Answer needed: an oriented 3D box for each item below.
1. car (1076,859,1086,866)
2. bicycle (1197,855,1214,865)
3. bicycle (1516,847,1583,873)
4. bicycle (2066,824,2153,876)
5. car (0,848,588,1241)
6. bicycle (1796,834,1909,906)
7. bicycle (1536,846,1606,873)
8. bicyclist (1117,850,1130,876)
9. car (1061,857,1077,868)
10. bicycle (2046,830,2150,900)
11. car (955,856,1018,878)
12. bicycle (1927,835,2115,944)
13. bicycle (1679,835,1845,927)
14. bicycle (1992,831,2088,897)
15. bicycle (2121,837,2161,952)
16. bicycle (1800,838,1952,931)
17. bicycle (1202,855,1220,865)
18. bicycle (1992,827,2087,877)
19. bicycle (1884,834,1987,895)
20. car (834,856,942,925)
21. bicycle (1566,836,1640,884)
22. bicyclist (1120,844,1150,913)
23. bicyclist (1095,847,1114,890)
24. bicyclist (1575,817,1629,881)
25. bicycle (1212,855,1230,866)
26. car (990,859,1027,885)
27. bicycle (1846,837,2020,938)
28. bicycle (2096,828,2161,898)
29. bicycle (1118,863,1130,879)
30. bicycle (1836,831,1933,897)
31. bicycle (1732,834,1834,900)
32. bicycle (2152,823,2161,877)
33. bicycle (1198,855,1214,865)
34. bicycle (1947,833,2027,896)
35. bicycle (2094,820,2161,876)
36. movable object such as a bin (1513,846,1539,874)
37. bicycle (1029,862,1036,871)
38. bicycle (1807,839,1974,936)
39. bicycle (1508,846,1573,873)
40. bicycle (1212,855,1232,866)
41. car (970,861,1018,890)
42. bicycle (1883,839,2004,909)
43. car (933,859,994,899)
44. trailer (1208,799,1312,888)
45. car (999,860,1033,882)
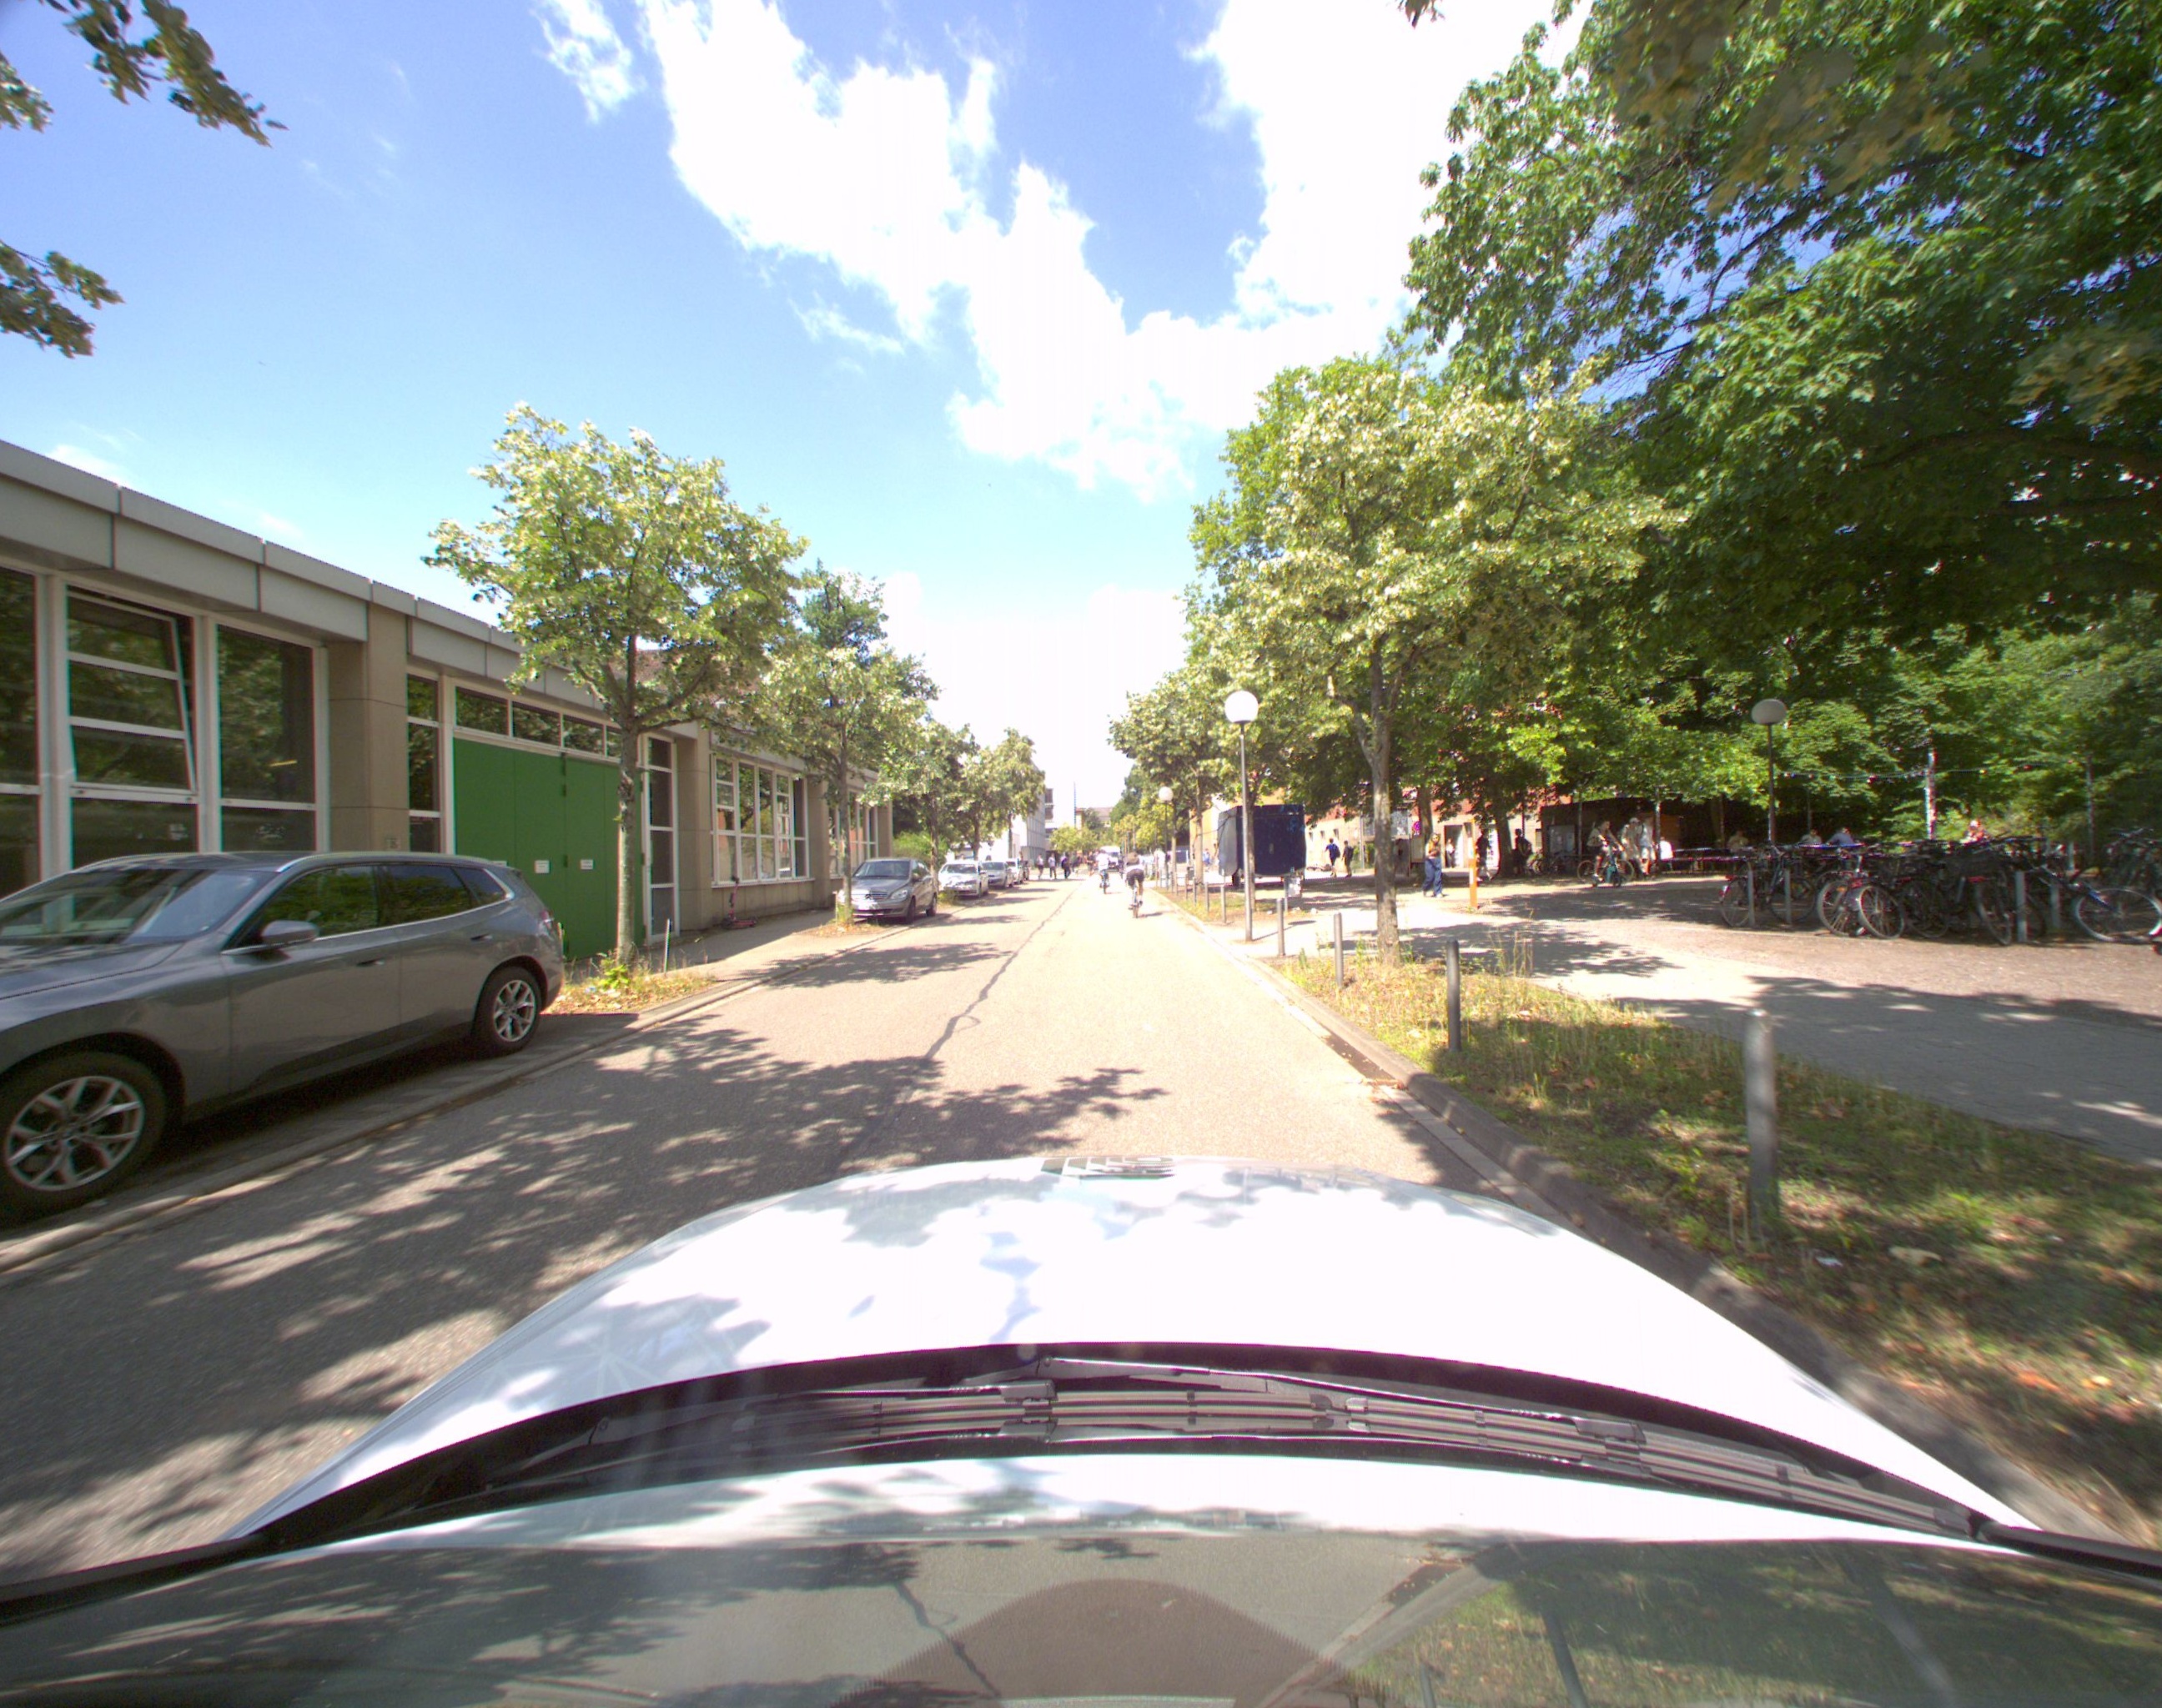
[{"bbox_3d":[0.067,1.835,184.844,1.786,1.530,4.006,-2,0,6],"label":"car"},{"bbox_3d":[14.436,0.683,94.351,1.803,0.985,0.560,-3,0,0],"label":"bicycle"},{"bbox_3d":[20.305,0.268,35.321,2.382,1.072,0.785,-2,-1,8],"label":"bicycle"},{"bbox_3d":[21.404,-0.088,16.946,1.959,0.979,0.436,-3,-1,-18],"label":"bicycle"},{"bbox_3d":[-5.423,0.804,5.203,1.816,1.632,4.515,0,-1,-1],"label":"car"},{"bbox_3d":[13.409,0.261,14.149,1.904,1.118,0.608,-3,-1,-21],"label":"bicycle"},{"bbox_3d":[20.530,0.233,34.160,2.379,1.072,0.786,-1,-1,13],"label":"bicycle"},{"bbox_3d":[2.891,0.635,55.644,0.805,1.756,0.693,-1,-1,2],"label":"bicyclist"},{"bbox_3d":[-1.775,1.269,118.254,1.786,1.530,4.006,-2,0,6],"label":"car"},{"bbox_3d":[15.922,0.156,12.743,1.904,0.979,0.418,-3,-1,-21],"label":"bicycle"},{"bbox_3d":[-7.381,0.991,63.563,4.479,1.619,1.929,1,-1,9],"label":"car"},{"bbox_3d":[10.298,0.369,8.925,1.944,1.082,0.403,-2,0,-11],"label":"bicycle"},{"bbox_3d":[9.610,0.363,11.511,2.015,1.167,0.649,-2,0,-11],"label":"bicycle"},{"bbox_3d":[15.850,0.156,13.452,1.906,0.979,0.475,-3,-1,-24],"label":"bicycle"},{"bbox_3d":[10.978,0.357,8.052,1.915,1.059,0.323,-2,0,-22],"label":"bicycle"},{"bbox_3d":[10.187,0.372,10.440,1.768,1.082,0.437,-2,0,-11],"label":"bicycle"},{"bbox_3d":[14.264,0.685,89.517,1.803,0.985,0.560,-3,0,0],"label":"bicycle"},{"bbox_3d":[20.793,-0.043,17.663,1.959,0.979,0.609,-3,-1,-18],"label":"bicycle"},{"bbox_3d":[15.392,0.183,14.669,1.903,0.979,0.475,-3,-1,-18],"label":"bicycle"},{"bbox_3d":[-4.768,0.854,20.671,1.752,1.556,4.112,0,-1,0],"label":"car"},{"bbox_3d":[14.580,0.169,22.787,0.531,1.252,1.726,-4,0,-19],"label":"bicycle"},{"bbox_3d":[1.361,0.601,20.294,0.714,1.662,1.096,0,-1,4],"label":"bicyclist"},{"bbox_3d":[0.988,0.611,34.305,0.768,1.756,0.849,0,-1,2],"label":"bicyclist"},{"bbox_3d":[14.565,-0.128,22.789,0.531,1.729,1.072,-4,0,-19],"label":"bicyclist"},{"bbox_3d":[14.402,0.667,83.787,1.803,0.985,0.560,-3,0,0],"label":"bicycle"},{"bbox_3d":[-4.127,0.994,46.661,1.656,1.412,3.808,0,0,1],"label":"car"},{"bbox_3d":[10.034,0.376,9.591,1.944,1.082,0.403,-2,0,-11],"label":"bicycle"},{"bbox_3d":[16.236,0.117,12.373,1.904,0.979,0.418,-3,-1,-21],"label":"bicycle"},{"bbox_3d":[2.904,1.155,55.588,0.805,1.002,2.125,-1,-1,2],"label":"bicycle"},{"bbox_3d":[15.381,0.185,15.586,1.903,1.143,0.475,-3,-1,-18],"label":"bicycle"},{"bbox_3d":[13.071,0.233,15.164,1.810,1.118,0.608,-3,-1,-21],"label":"bicycle"},{"bbox_3d":[21.778,-0.131,15.851,1.959,1.039,0.475,-3,-1,-18],"label":"bicycle"},{"bbox_3d":[14.336,0.686,93.389,1.803,0.985,0.560,-3,0,0],"label":"bicycle"},{"bbox_3d":[15.682,0.164,14.084,1.908,0.979,0.418,-3,-1,-27],"label":"bicycle"},{"bbox_3d":[21.427,-0.132,16.496,1.959,1.039,0.432,-3,-1,-18],"label":"bicycle"},{"bbox_3d":[17.798,0.236,32.600,0.597,1.071,0.743,-2,-2,2],"label":"movable object such as a bin"},{"bbox_3d":[-5.771,1.501,96.238,0.520,0.985,1.635,-3,0,6],"label":"bicycle"},{"bbox_3d":[9.944,0.394,10.011,1.944,1.082,0.403,-2,0,-11],"label":"bicycle"},{"bbox_3d":[20.407,0.251,36.232,2.379,1.072,0.786,-2,-1,14],"label":"bicycle"},{"bbox_3d":[13.952,0.669,80.412,1.803,0.985,0.560,-3,0,0],"label":"bicycle"},{"bbox_3d":[-4.271,1.035,40.528,1.718,1.344,4.169,0,0,3],"label":"car"},{"bbox_3d":[13.772,0.306,12.995,1.904,0.979,0.608,-3,-1,-21],"label":"bicycle"},{"bbox_3d":[-4.535,0.947,32.073,1.720,1.456,4.582,0,-1,0],"label":"car"},{"bbox_3d":[6.945,-0.354,32.433,2.682,3.051,6.257,-3,0,0],"label":"trailer"},{"bbox_3d":[-4.198,1.101,52.868,1.638,1.300,3.930,-2,0,3],"label":"car"}]
